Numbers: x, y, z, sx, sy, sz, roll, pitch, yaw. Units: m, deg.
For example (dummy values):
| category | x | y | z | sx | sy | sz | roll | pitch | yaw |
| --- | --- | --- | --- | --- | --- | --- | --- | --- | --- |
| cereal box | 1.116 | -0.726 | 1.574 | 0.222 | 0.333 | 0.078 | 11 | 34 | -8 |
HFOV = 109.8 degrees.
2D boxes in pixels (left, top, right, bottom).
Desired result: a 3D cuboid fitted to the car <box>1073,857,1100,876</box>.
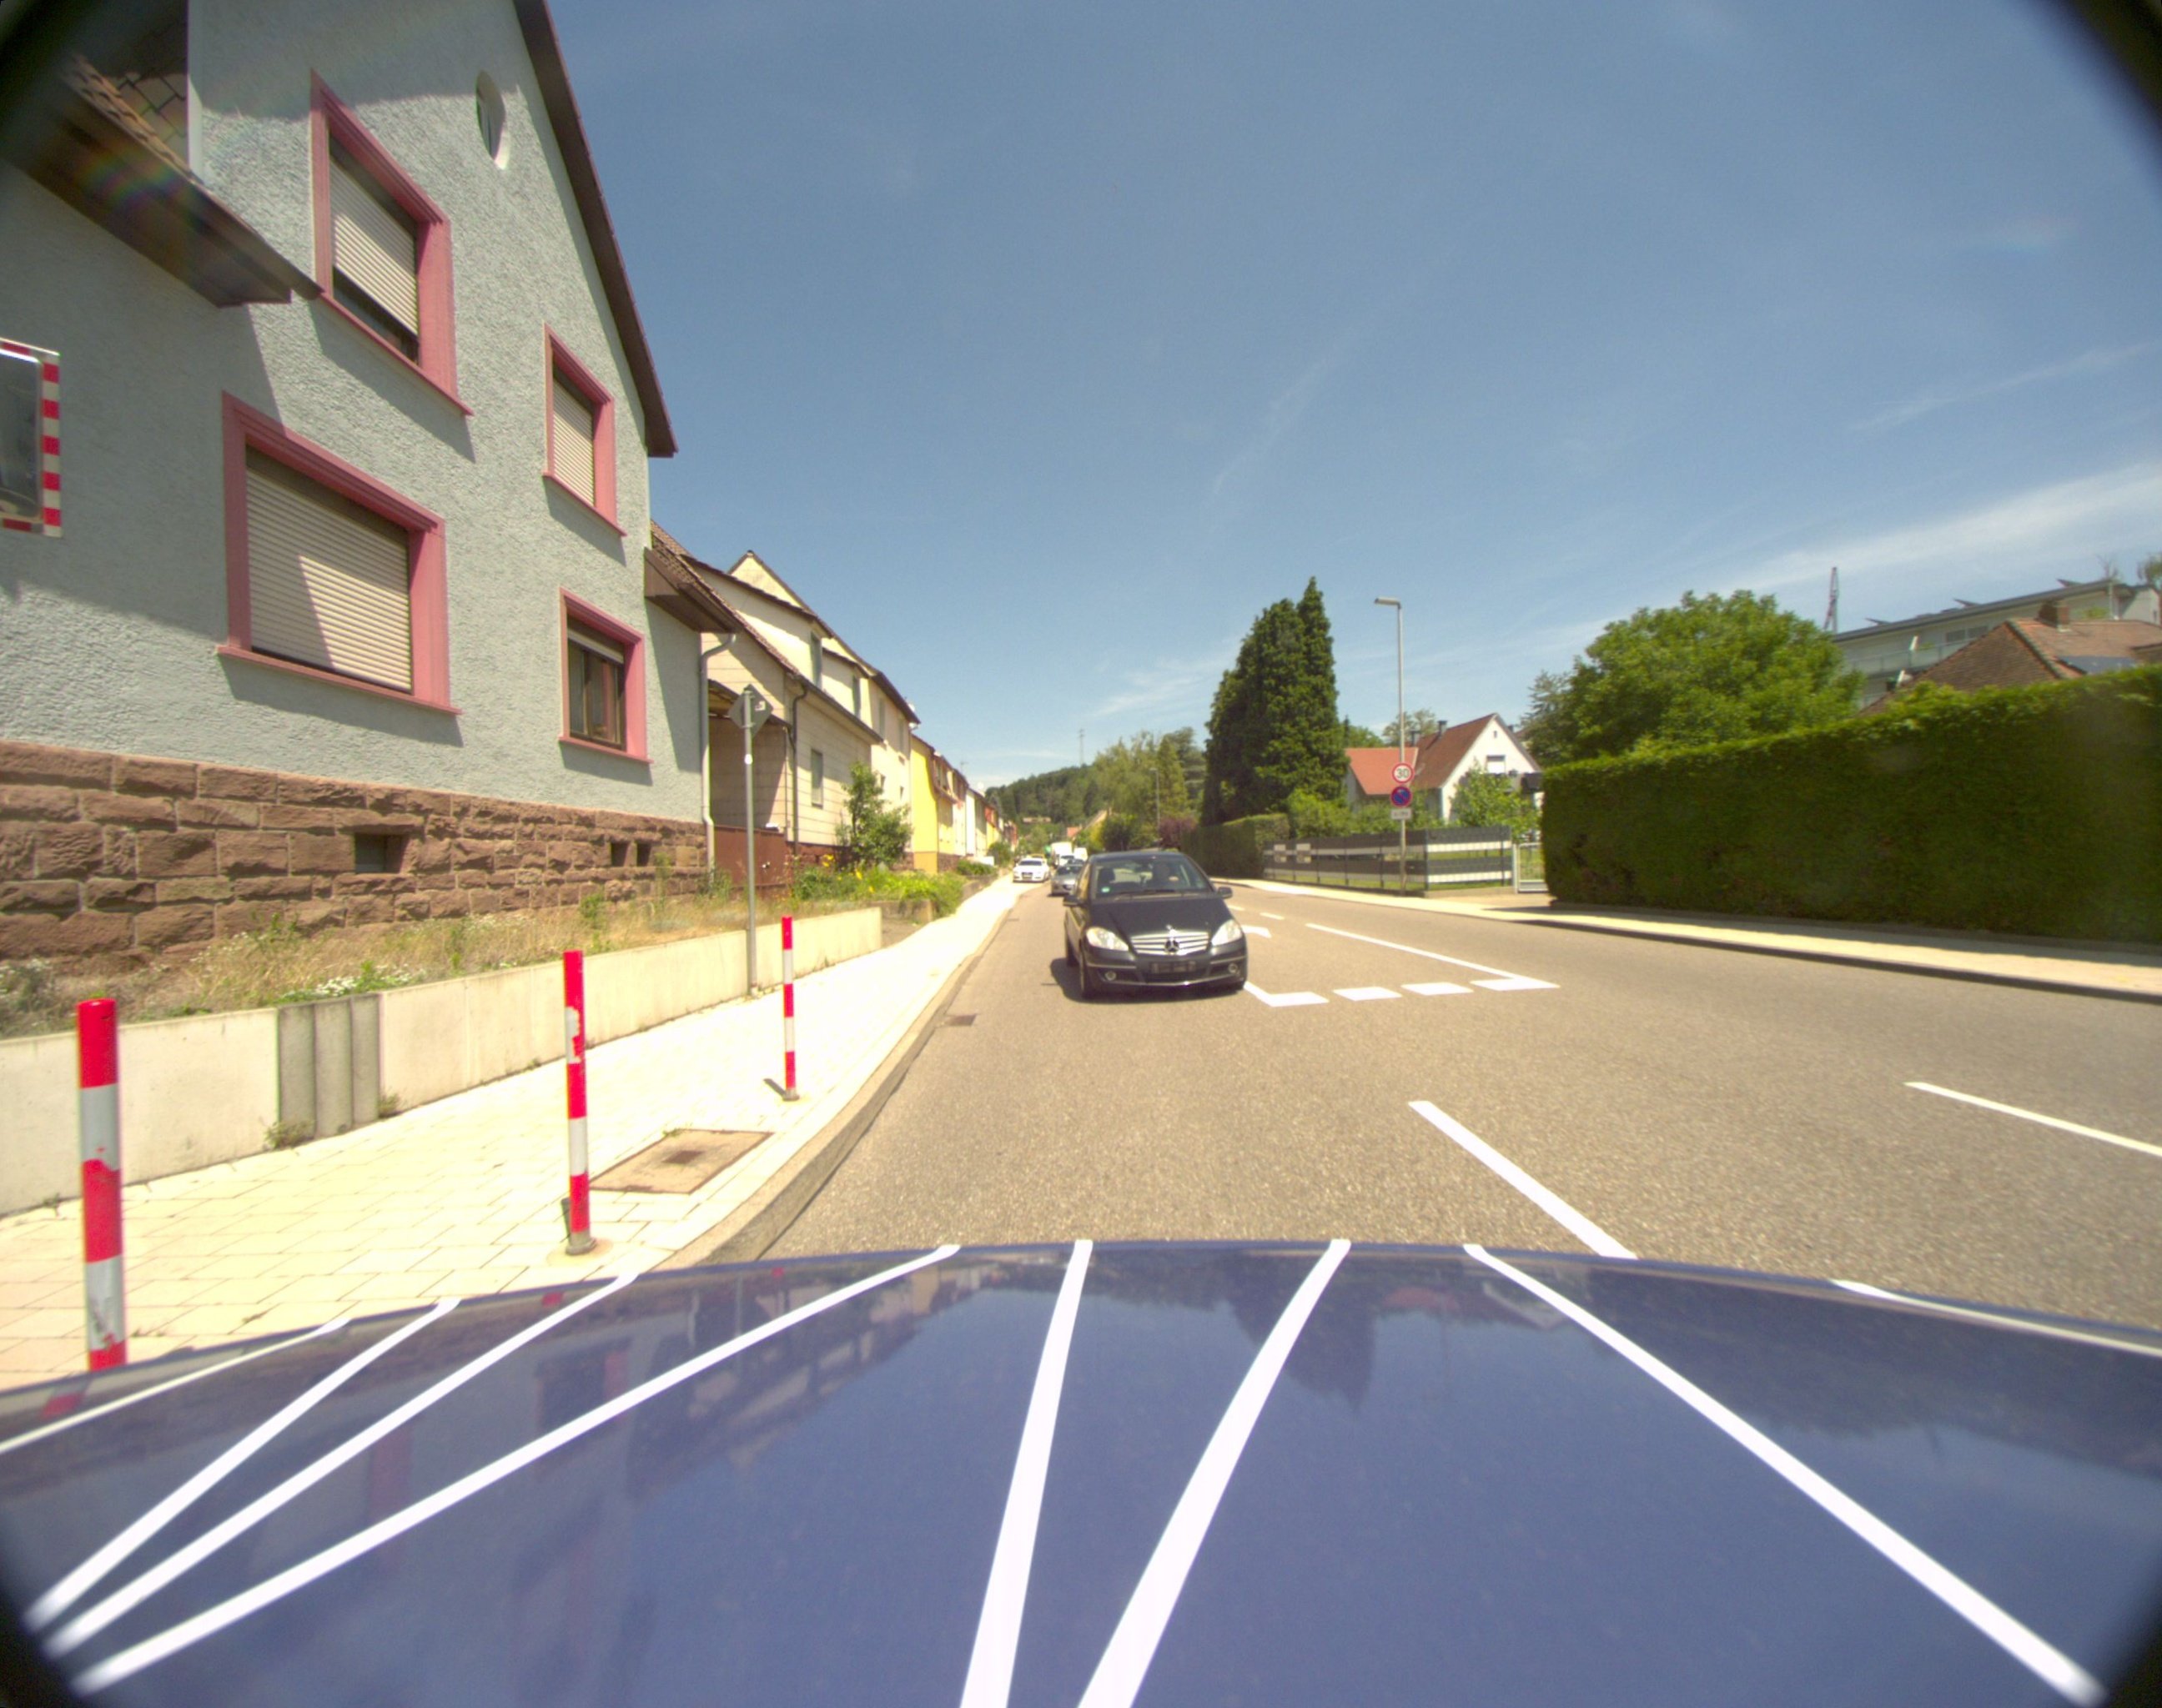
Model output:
| category | x | y | z | sx | sy | sz | roll | pitch | yaw |
| --- | --- | --- | --- | --- | --- | --- | --- | --- | --- |
| car | 0.429 | 1.013 | 61.194 | 1.864 | 1.441 | 3.999 | -1 | 0 | -3 |

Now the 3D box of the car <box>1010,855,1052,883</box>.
| category | x | y | z | sx | sy | sz | roll | pitch | yaw |
| --- | --- | --- | --- | --- | --- | --- | --- | --- | --- |
| car | -2.905 | 0.835 | 45.056 | 1.998 | 1.510 | 4.144 | 3 | 0 | 2 |

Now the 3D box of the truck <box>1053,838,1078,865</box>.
| category | x | y | z | sx | sy | sz | roll | pitch | yaw |
| --- | --- | --- | --- | --- | --- | --- | --- | --- | --- |
| truck | -2.153 | -0.350 | 103.009 | 3.150 | 3.467 | 8.270 | -2 | 0 | -2 |

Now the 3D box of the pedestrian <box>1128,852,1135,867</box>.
| category | x | y | z | sx | sy | sz | roll | pitch | yaw |
| --- | --- | --- | --- | --- | --- | --- | --- | --- | --- |
| pedestrian | 4.965 | 0.527 | 74.880 | 0.555 | 1.477 | 0.483 | -3 | 1 | -2 |

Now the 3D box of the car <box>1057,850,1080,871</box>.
| category | x | y | z | sx | sy | sz | roll | pitch | yaw |
| --- | --- | --- | --- | --- | --- | --- | --- | --- | --- |
| car | -1.363 | 0.686 | 80.536 | 1.999 | 2.002 | 4.546 | -2 | 0 | -5 |

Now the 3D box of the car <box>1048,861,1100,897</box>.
| category | x | y | z | sx | sy | sz | roll | pitch | yaw |
| --- | --- | --- | --- | --- | --- | --- | --- | --- | --- |
| car | -0.366 | 0.994 | 31.445 | 1.911 | 1.296 | 4.155 | -2 | 0 | -4 |

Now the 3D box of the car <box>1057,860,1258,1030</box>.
| category | x | y | z | sx | sy | sz | roll | pitch | yaw |
| --- | --- | --- | --- | --- | --- | --- | --- | --- | --- |
| car | 0.693 | 0.905 | 9.541 | 1.868 | 1.580 | 4.155 | -2 | 0 | -3 |

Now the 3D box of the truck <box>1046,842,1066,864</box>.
| category | x | y | z | sx | sy | sz | roll | pitch | yaw |
| --- | --- | --- | --- | --- | --- | --- | --- | --- | --- |
| truck | -4.160 | -0.204 | 126.530 | 3.150 | 3.466 | 8.270 | -2 | 0 | -2 |
